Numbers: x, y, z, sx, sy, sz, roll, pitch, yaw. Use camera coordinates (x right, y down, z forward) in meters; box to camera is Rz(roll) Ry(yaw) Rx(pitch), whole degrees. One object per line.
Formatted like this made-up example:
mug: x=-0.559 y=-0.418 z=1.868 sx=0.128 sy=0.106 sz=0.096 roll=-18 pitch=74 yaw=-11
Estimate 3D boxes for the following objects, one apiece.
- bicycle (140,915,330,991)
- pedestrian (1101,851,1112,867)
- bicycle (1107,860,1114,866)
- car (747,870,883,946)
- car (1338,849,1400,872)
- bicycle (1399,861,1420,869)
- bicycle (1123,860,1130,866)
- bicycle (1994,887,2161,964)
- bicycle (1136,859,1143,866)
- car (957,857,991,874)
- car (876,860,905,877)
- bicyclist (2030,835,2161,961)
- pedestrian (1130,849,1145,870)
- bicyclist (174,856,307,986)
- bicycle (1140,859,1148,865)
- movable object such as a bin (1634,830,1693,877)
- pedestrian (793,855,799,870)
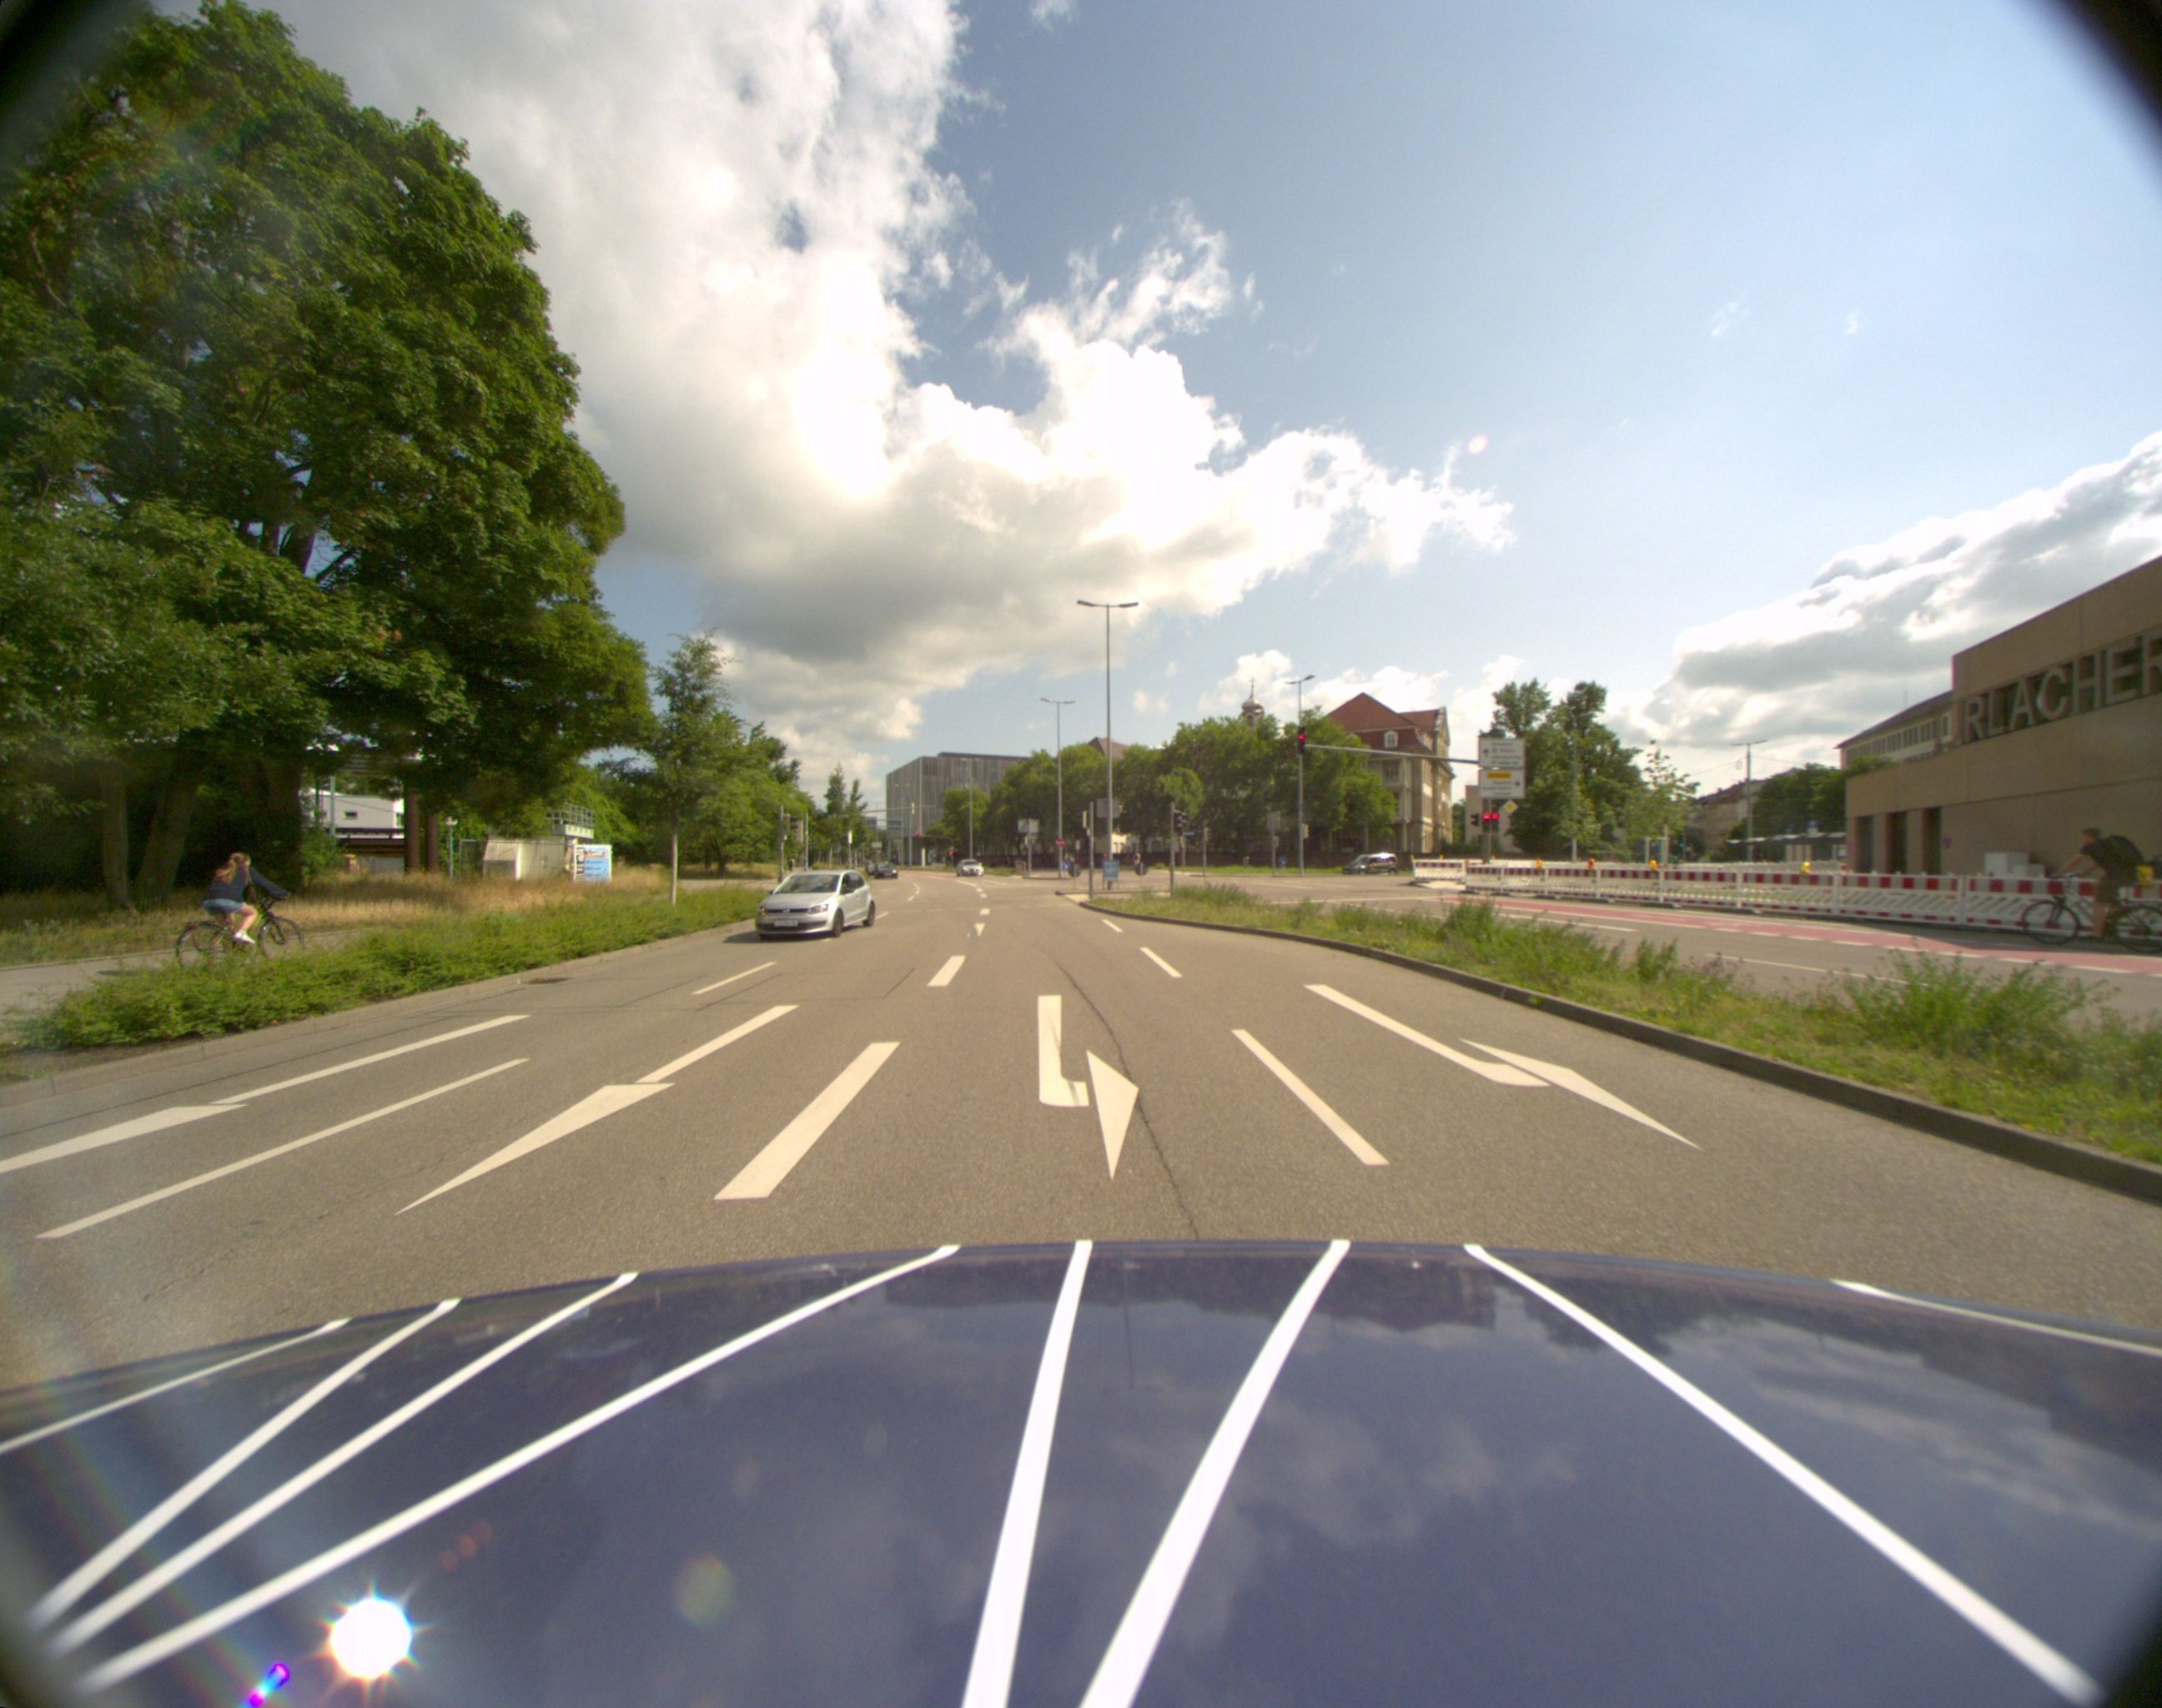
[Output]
bicycle: x=-11.558 y=1.321 z=10.483 sx=0.626 sy=0.806 sz=1.789 roll=1 pitch=0 yaw=0
pedestrian: x=2.846 y=0.526 z=83.574 sx=0.751 sy=1.770 sz=0.963 roll=-1 pitch=1 yaw=-34
bicycle: x=4.209 y=1.300 z=107.479 sx=0.481 sy=0.843 sz=0.975 roll=1 pitch=0 yaw=44
car: x=-5.831 y=1.120 z=17.171 sx=1.655 sy=1.433 sz=4.005 roll=0 pitch=0 yaw=0
car: x=23.041 y=0.523 z=60.781 sx=4.677 sy=1.774 sz=1.852 roll=0 pitch=-1 yaw=-23
bicycle: x=36.233 y=1.171 z=83.843 sx=2.056 sy=0.856 sz=0.860 roll=0 pitch=2 yaw=20
bicycle: x=6.273 y=1.255 z=105.423 sx=0.481 sy=0.843 sz=0.975 roll=1 pitch=0 yaw=44
bicycle: x=15.529 y=1.058 z=11.623 sx=0.618 sy=0.996 sz=2.017 roll=-1 pitch=0 yaw=-4
bicycle: x=8.019 y=1.160 z=103.713 sx=0.481 sy=0.843 sz=0.975 roll=1 pitch=0 yaw=44
car: x=-9.576 y=0.992 z=67.500 sx=2.064 sy=1.434 sz=4.772 roll=-2 pitch=1 yaw=-19
car: x=-16.385 y=1.209 z=65.240 sx=2.002 sy=1.369 sz=4.153 roll=1 pitch=0 yaw=-19
bicyclist: x=15.522 y=0.629 z=11.520 sx=0.813 sy=1.812 sz=1.159 roll=-1 pitch=0 yaw=-3
pedestrian: x=5.035 y=0.482 z=67.958 sx=0.697 sy=1.846 sz=1.183 roll=-2 pitch=-1 yaw=39
bicyclist: x=-11.563 y=0.887 z=10.490 sx=0.737 sy=1.692 sz=0.965 roll=1 pitch=0 yaw=0
bicycle: x=8.578 y=1.134 z=103.233 sx=0.481 sy=0.843 sz=0.975 roll=1 pitch=0 yaw=44
movable object such as a bin: x=38.048 y=-0.026 z=49.758 sx=1.995 sy=2.932 sz=4.458 roll=0 pitch=0 yaw=23
pedestrian: x=-32.278 y=0.954 z=85.997 sx=0.543 sy=1.597 sz=0.523 roll=0 pitch=-2 yaw=-28
